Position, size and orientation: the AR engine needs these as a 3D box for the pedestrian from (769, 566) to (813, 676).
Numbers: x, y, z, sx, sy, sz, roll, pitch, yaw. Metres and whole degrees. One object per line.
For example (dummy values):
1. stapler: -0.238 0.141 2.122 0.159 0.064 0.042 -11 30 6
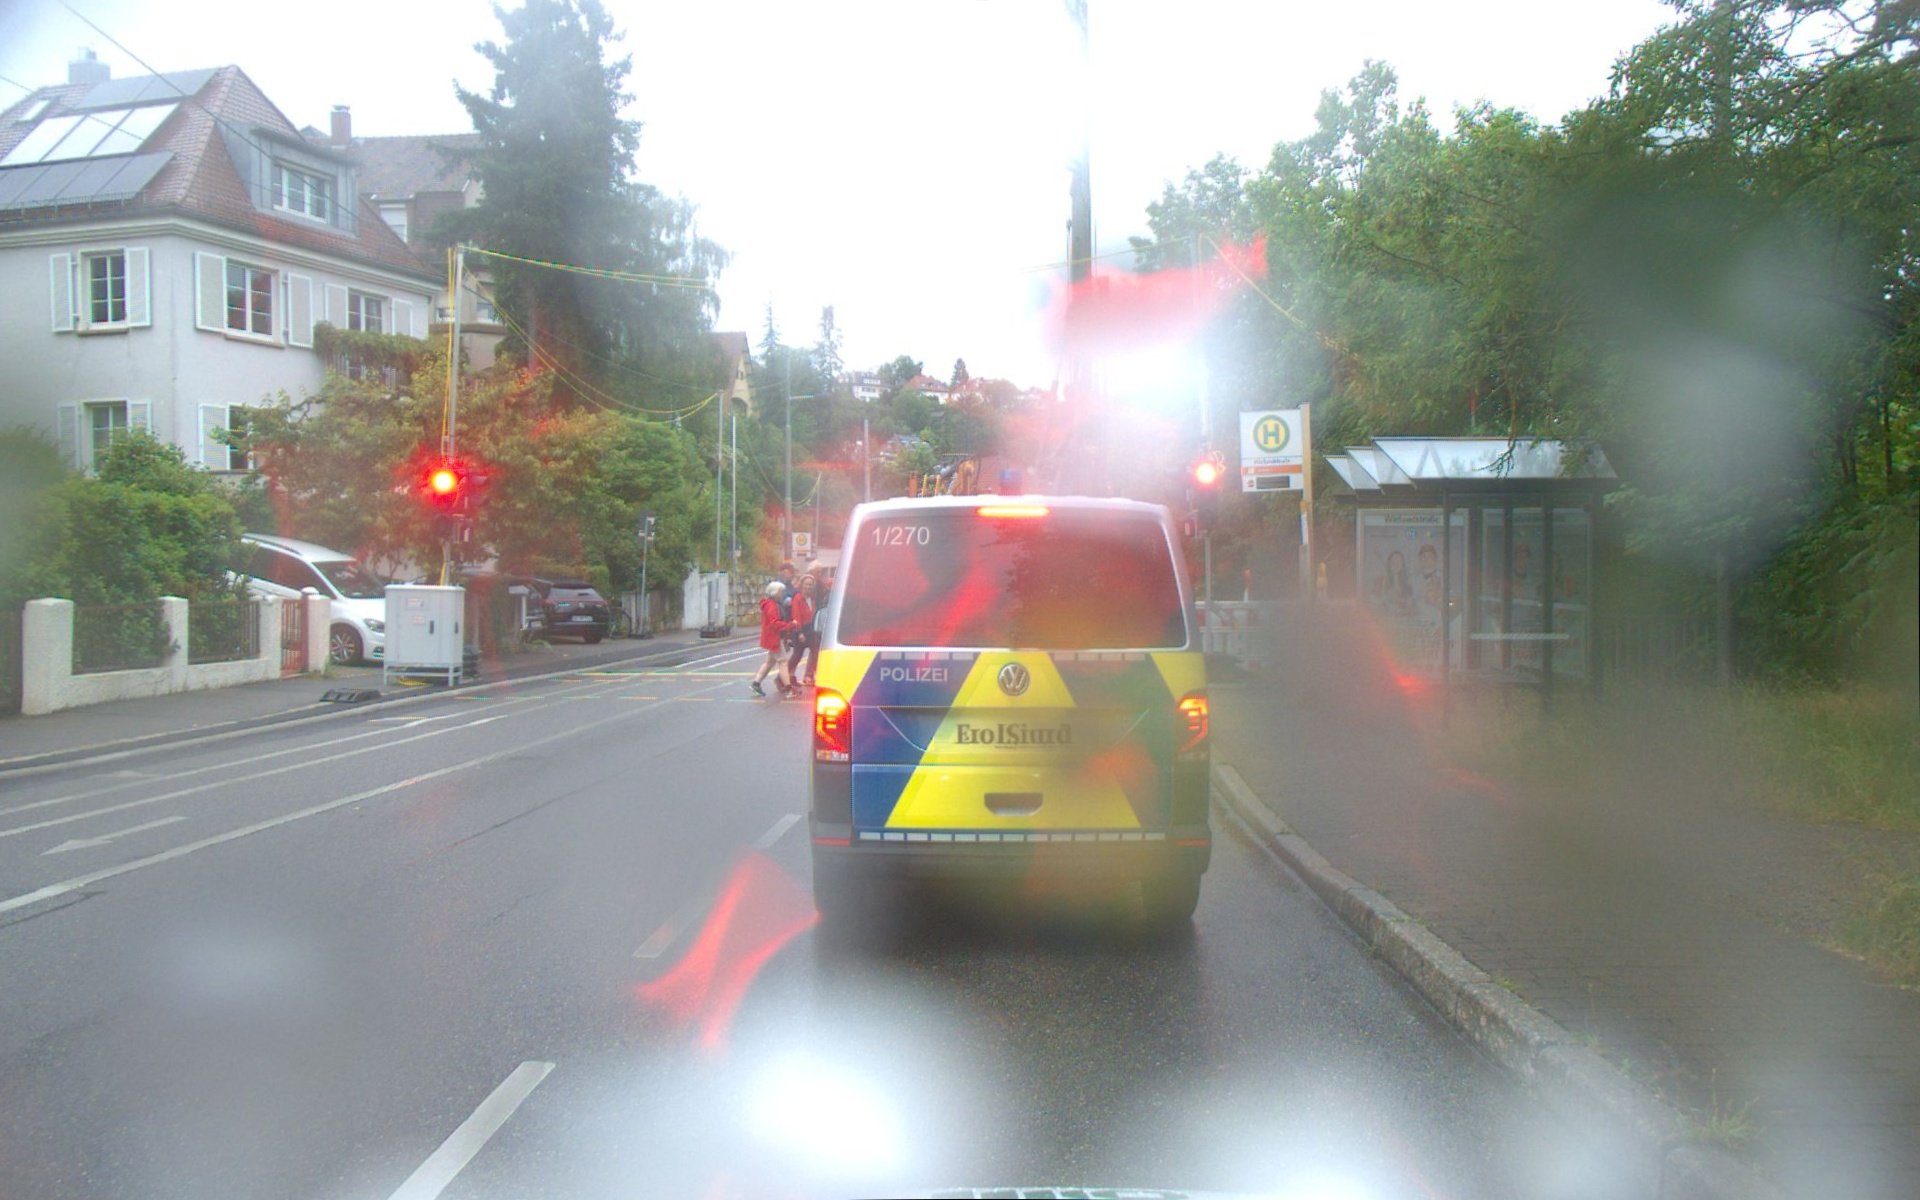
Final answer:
1. pedestrian: -2.398 0.298 23.499 0.514 1.533 0.429 2 -2 1

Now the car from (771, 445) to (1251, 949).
1. car: 0.272 0.369 8.993 1.952 2.049 4.403 1 1 2

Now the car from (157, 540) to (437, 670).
1. car: -10.916 0.065 27.346 3.902 2.049 1.832 1 0 11

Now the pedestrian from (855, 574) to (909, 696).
1. pedestrian: -1.010 0.455 21.577 0.613 1.548 0.593 2 -2 1

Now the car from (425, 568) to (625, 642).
1. car: -9.693 0.122 36.961 3.902 1.512 1.761 1 -2 10

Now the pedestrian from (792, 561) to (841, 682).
1. pedestrian: -2.110 0.315 24.351 0.613 1.745 0.593 2 -2 1

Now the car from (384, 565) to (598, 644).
1. car: -9.842 0.102 34.810 3.902 1.512 1.761 1 -2 10

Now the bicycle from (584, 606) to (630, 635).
1. bicycle: -8.535 0.491 39.982 1.031 0.674 0.320 1 -2 10

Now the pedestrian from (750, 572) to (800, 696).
1. pedestrian: -2.456 0.453 21.940 0.551 1.610 0.468 2 -2 1

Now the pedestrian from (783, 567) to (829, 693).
1. pedestrian: -2.122 0.414 22.794 0.537 1.697 0.414 2 -2 1
